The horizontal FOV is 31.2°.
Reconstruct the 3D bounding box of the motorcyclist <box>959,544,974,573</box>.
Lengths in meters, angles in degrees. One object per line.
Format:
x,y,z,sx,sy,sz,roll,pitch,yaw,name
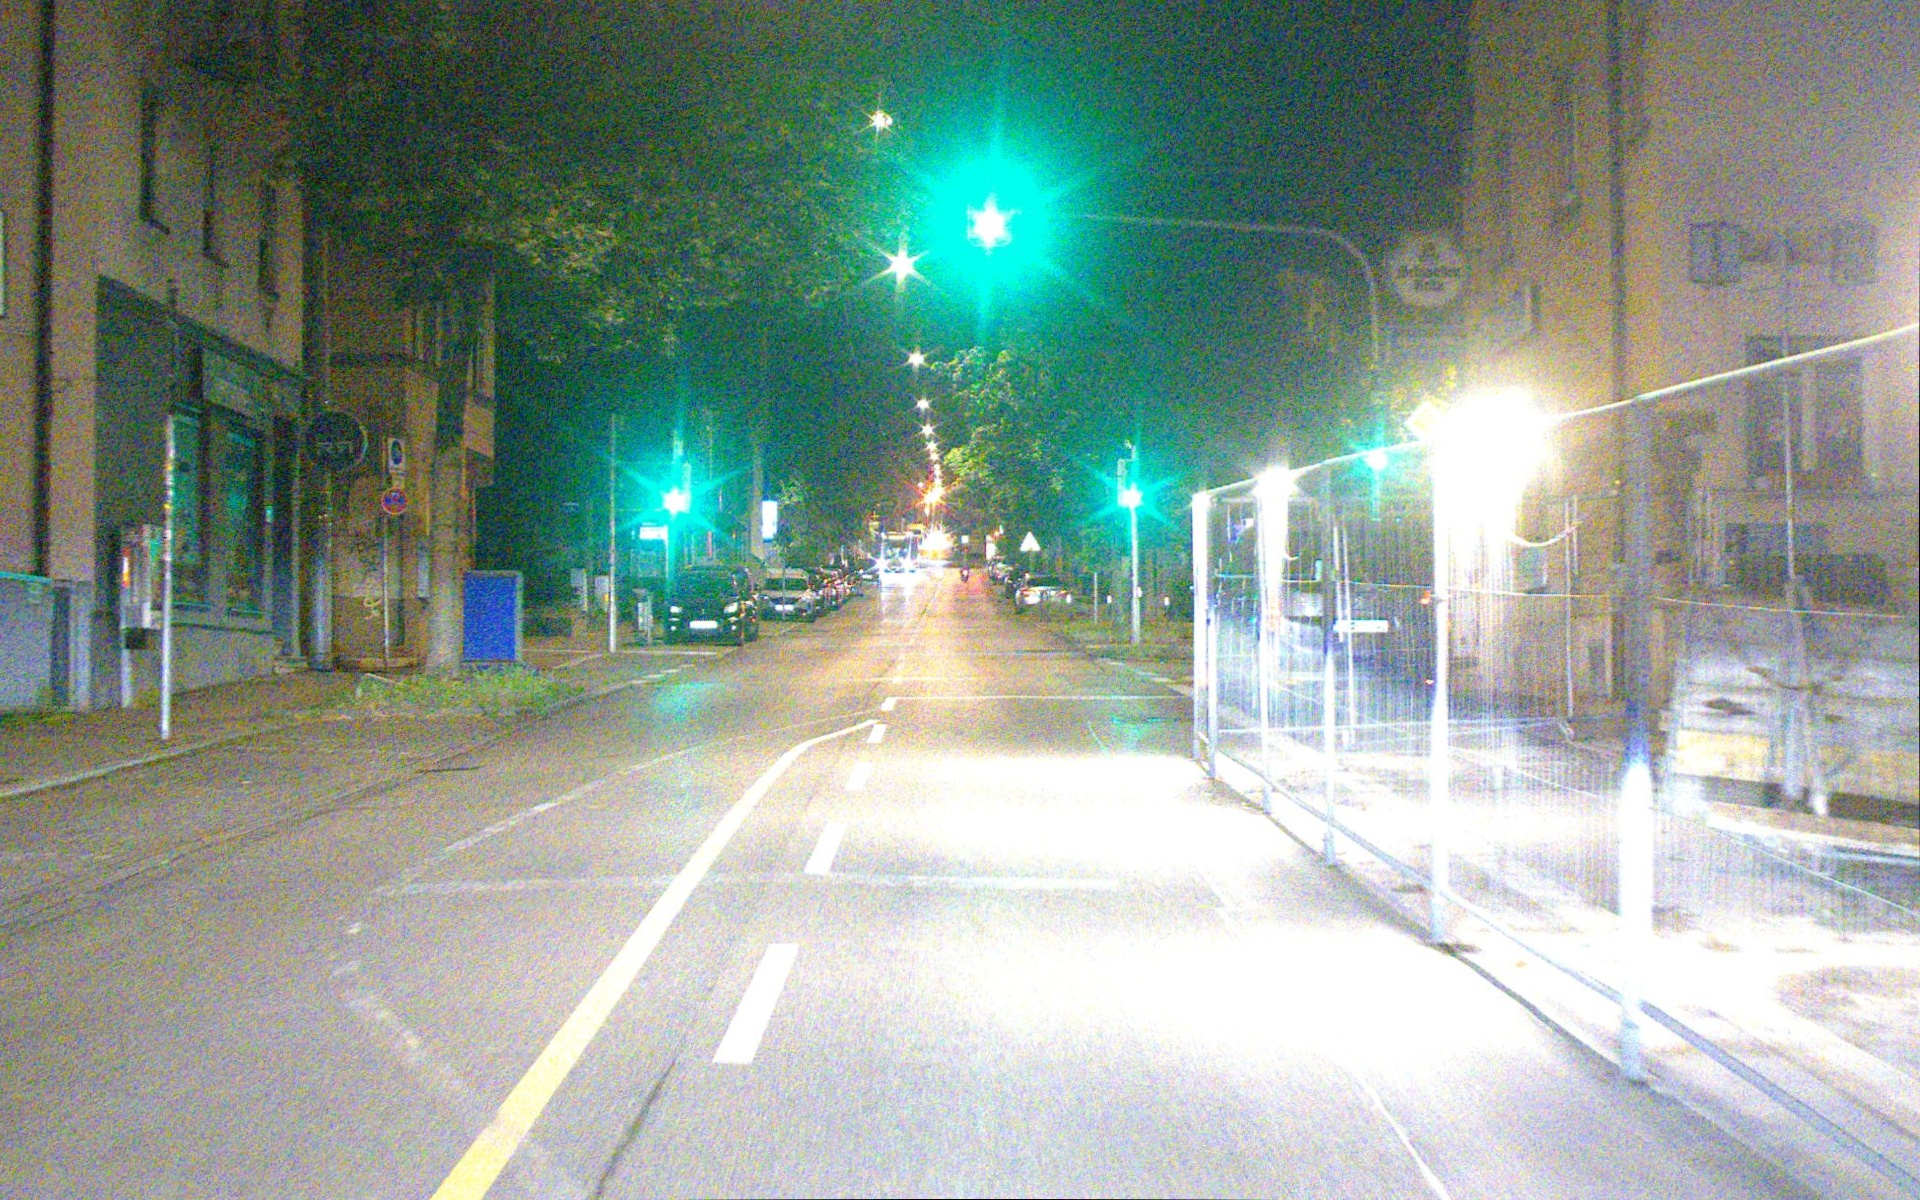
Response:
0.389,-2.521,209.957,0.848,1.746,0.805,1,0,0,motorcyclist

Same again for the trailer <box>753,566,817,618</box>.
-5.739,-0.261,113.008,1.638,1.634,3.438,1,0,4,trailer

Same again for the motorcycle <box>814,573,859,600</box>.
-5.365,-0.577,149.257,0.714,1.143,2.208,-1,2,-42,motorcycle

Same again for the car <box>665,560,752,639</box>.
-5.584,-0.040,76.583,1.848,1.644,4.672,1,1,-4,car

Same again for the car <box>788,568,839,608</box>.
-5.642,-0.448,132.717,1.863,1.486,4.280,1,0,-1,car

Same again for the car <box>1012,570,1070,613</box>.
2.852,-0.286,121.721,1.845,1.412,4.645,-3,0,-1,car

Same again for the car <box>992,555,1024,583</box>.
2.919,-1.914,209.090,1.812,1.588,4.274,-1,1,0,car

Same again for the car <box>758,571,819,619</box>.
-5.389,-0.168,108.471,1.814,1.479,4.348,0,0,-2,car

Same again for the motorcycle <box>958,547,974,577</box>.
0.388,-2.307,209.957,0.931,1.746,2.625,1,0,0,motorcycle

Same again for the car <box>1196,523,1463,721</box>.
3.555,0.180,33.975,1.910,1.820,4.901,0,0,-3,car

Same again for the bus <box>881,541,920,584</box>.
-4.520,-2.915,262.926,2.837,3.166,10.499,1,1,0,bus

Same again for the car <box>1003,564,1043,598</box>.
2.923,-0.906,160.214,1.763,1.471,4.080,-2,1,0,car

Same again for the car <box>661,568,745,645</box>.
-5.256,0.118,70.561,1.647,1.509,3.702,1,0,-4,car

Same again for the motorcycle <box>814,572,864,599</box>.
-5.318,-0.641,151.275,2.206,1.127,0.714,0,1,33,motorcycle
